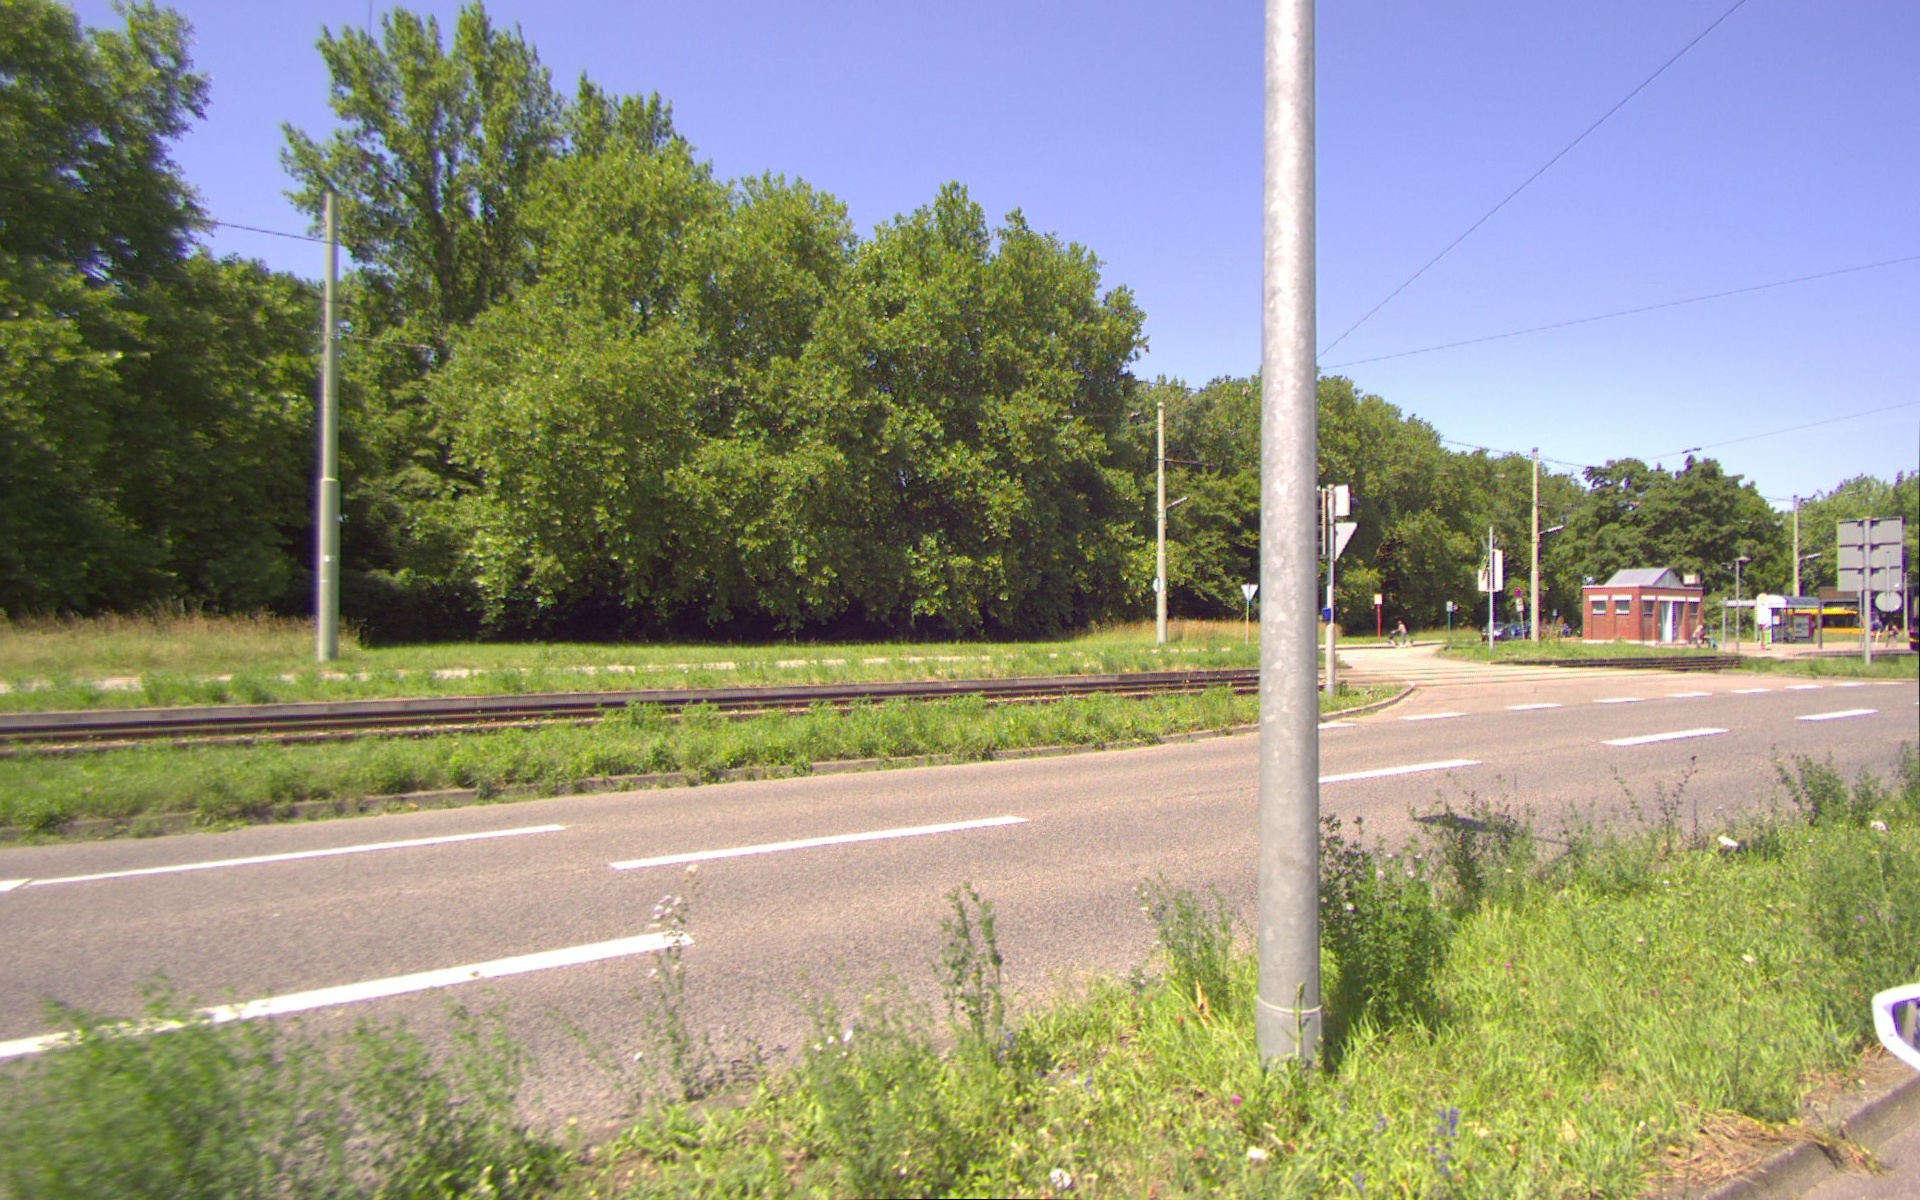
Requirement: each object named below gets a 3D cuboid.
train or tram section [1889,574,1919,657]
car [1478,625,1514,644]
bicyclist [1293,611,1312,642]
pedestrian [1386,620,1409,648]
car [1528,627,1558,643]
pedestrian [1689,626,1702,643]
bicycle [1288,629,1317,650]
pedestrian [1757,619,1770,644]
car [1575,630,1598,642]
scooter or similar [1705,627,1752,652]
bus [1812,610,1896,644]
[{"bbox_3d":[58.348,1.018,54.626,37.117,3.717,2.771,1,-1,-33],"label":"train or tram section"},{"bbox_3d":[43.595,2.797,81.682,1.968,1.486,3.985,0,-1,37],"label":"car"},{"bbox_3d":[15.290,1.168,44.792,0.674,1.353,0.504,1,-1,-38],"label":"bicyclist"},{"bbox_3d":[27.799,2.161,63.779,1.245,1.724,0.518,1,0,12],"label":"pedestrian"},{"bbox_3d":[57.573,3.405,99.180,1.970,1.486,3.981,0,-1,40],"label":"car"},{"bbox_3d":[43.536,2.041,59.442,0.516,1.032,0.479,1,-1,-31],"label":"pedestrian"},{"bbox_3d":[15.280,1.773,44.793,1.552,0.913,0.504,1,-1,-39],"label":"bicycle"},{"bbox_3d":[47.713,1.860,59.650,0.520,1.455,0.458,1,0,-35],"label":"pedestrian"},{"bbox_3d":[80.163,4.551,128.464,1.970,1.486,3.981,0,-1,40],"label":"car"},{"bbox_3d":[36.094,1.833,47.166,1.639,1.142,0.613,1,0,12],"label":"scooter or similar"},{"bbox_3d":[99.158,2.899,111.623,1.963,3.614,7.549,1,-1,-7],"label":"bus"}]
